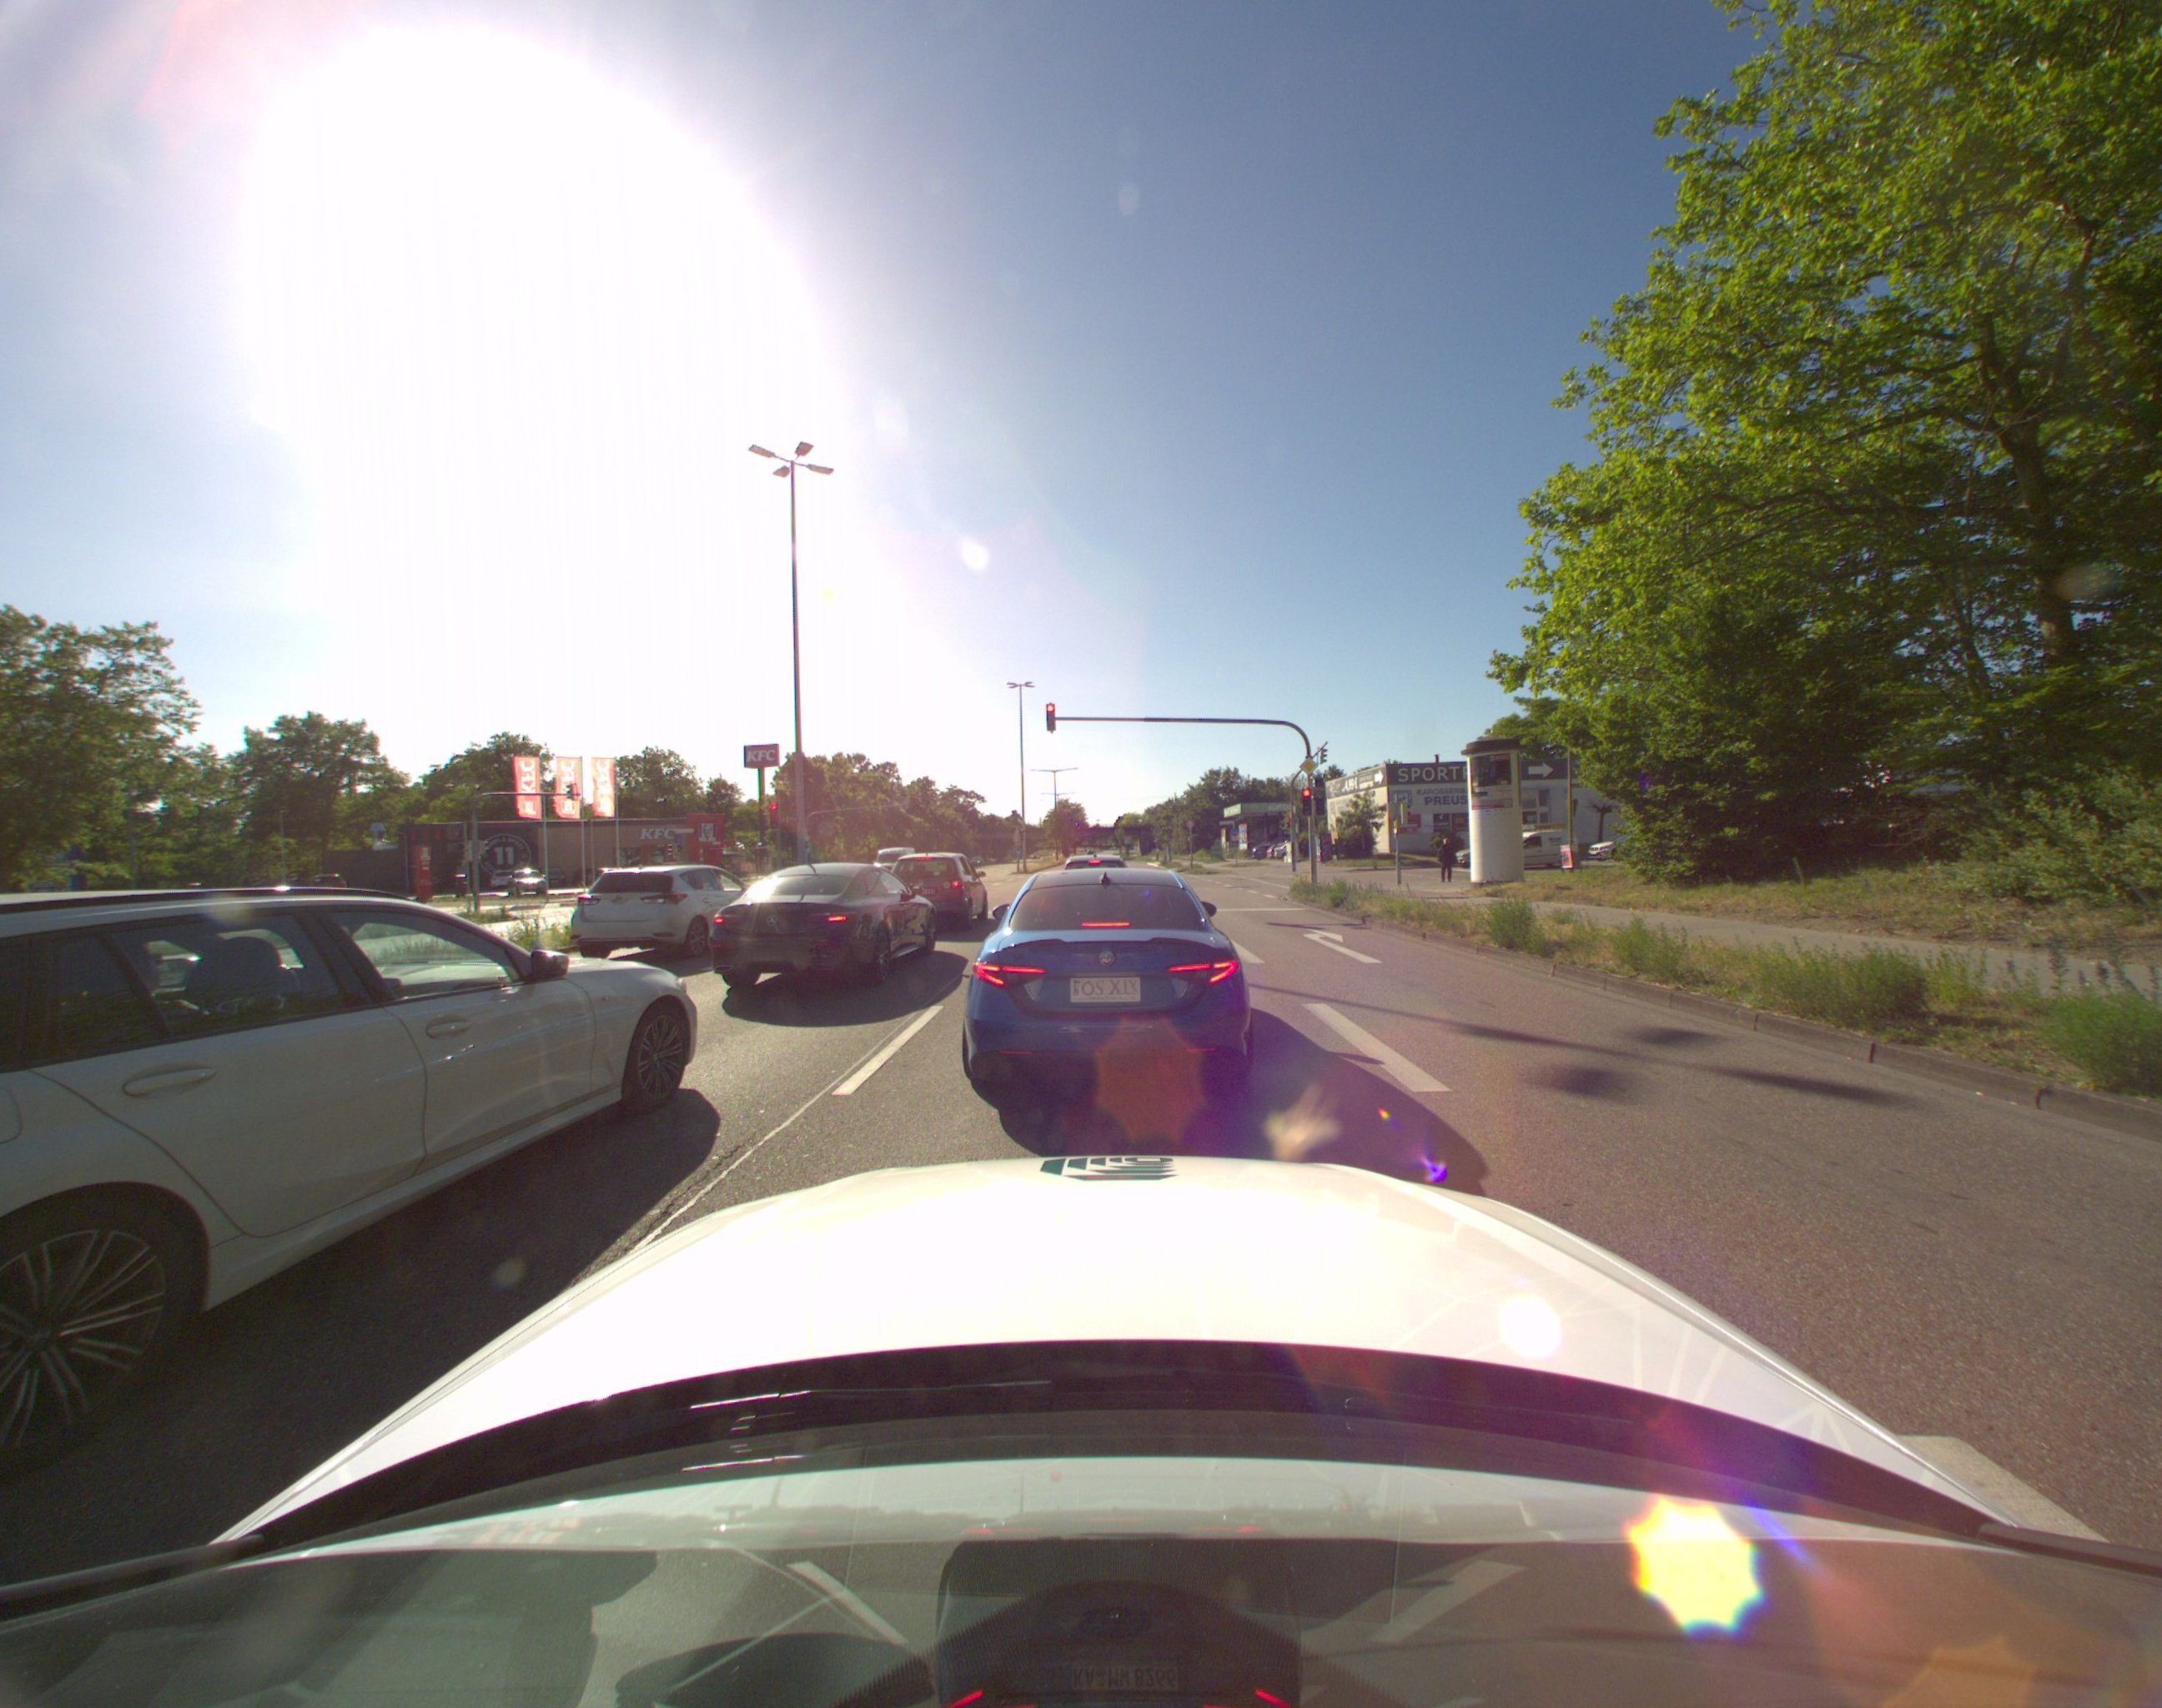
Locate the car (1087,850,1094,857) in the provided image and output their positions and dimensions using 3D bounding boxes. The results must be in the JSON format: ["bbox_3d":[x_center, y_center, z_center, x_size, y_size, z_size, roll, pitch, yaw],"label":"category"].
[{"bbox_3d":[2.439,-0.041,209.552,1.884,1.816,4.001,0,-1,2],"label":"car"}]

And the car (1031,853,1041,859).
[{"bbox_3d":[-10.542,0.473,190.086,1.752,1.490,4.480,-3,0,2],"label":"car"}]

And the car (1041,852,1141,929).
[{"bbox_3d":[0.222,0.695,17.350,1.844,1.418,4.403,0,0,1],"label":"car"}]

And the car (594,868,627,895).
[{"bbox_3d":[-33.660,1.933,58.335,1.920,1.752,4.315,0,-1,-29],"label":"car"}]

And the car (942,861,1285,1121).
[{"bbox_3d":[0.211,0.773,6.707,1.889,1.418,4.403,0,0,1],"label":"car"}]

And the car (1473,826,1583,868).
[{"bbox_3d":[21.545,-0.355,39.356,4.367,1.801,1.765,-3,1,0],"label":"car"}]

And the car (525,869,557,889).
[{"bbox_3d":[-43.139,1.956,65.055,1.670,1.471,3.872,0,-1,-40],"label":"car"}]

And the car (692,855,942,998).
[{"bbox_3d":[-3.166,0.780,10.803,1.790,1.490,4.476,0,-1,1],"label":"car"}]

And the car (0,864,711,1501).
[{"bbox_3d":[-3.423,0.799,3.298,1.779,1.490,4.403,0,-1,1],"label":"car"}]

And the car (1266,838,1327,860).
[{"bbox_3d":[17.716,-0.404,67.095,4.470,1.454,1.860,-4,0,3],"label":"car"}]

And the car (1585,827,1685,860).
[{"bbox_3d":[29.060,-0.533,42.782,4.028,1.490,1.782,-3,0,-1],"label":"car"}]

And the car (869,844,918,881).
[{"bbox_3d":[-13.887,0.609,60.766,2.015,2.447,5.823,-5,0,1],"label":"car"}]

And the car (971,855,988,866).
[{"bbox_3d":[-15.391,1.012,123.218,1.752,1.490,4.480,-3,0,2],"label":"car"}]

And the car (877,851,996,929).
[{"bbox_3d":[-3.020,0.716,17.906,1.753,1.490,4.403,0,-1,1],"label":"car"}]

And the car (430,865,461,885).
[{"bbox_3d":[-47.631,1.563,60.985,1.670,1.471,3.872,0,-1,-40],"label":"car"}]

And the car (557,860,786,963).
[{"bbox_3d":[-6.721,0.854,13.964,1.753,1.490,4.197,0,-1,1],"label":"car"}]

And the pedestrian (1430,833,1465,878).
[{"bbox_3d":[14.247,0.064,31.667,0.922,1.735,0.939,0,-1,1],"label":"pedestrian"}]

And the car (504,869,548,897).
[{"bbox_3d":[-37.330,1.938,54.856,2.005,1.765,4.315,0,-1,-29],"label":"car"}]

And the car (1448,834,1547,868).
[{"bbox_3d":[21.772,-0.192,42.705,4.273,1.549,1.765,-3,1,0],"label":"car"}]

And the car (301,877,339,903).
[{"bbox_3d":[-52.365,2.462,56.091,1.670,1.673,3.897,0,-1,-40],"label":"car"}]

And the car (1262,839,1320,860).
[{"bbox_3d":[17.993,-0.375,69.844,4.470,1.454,1.860,-4,0,3],"label":"car"}]

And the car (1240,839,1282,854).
[{"bbox_3d":[21.397,-0.871,97.007,4.532,1.490,1.766,-4,0,3],"label":"car"}]

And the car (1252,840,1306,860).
[{"bbox_3d":[17.952,-0.346,73.898,4.470,1.454,1.860,-4,0,3],"label":"car"}]

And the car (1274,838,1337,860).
[{"bbox_3d":[17.710,-0.417,64.314,4.470,1.454,1.860,-4,0,3],"label":"car"}]

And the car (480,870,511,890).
[{"bbox_3d":[-45.631,2.024,63.402,1.670,1.471,3.872,0,-1,-40],"label":"car"}]
